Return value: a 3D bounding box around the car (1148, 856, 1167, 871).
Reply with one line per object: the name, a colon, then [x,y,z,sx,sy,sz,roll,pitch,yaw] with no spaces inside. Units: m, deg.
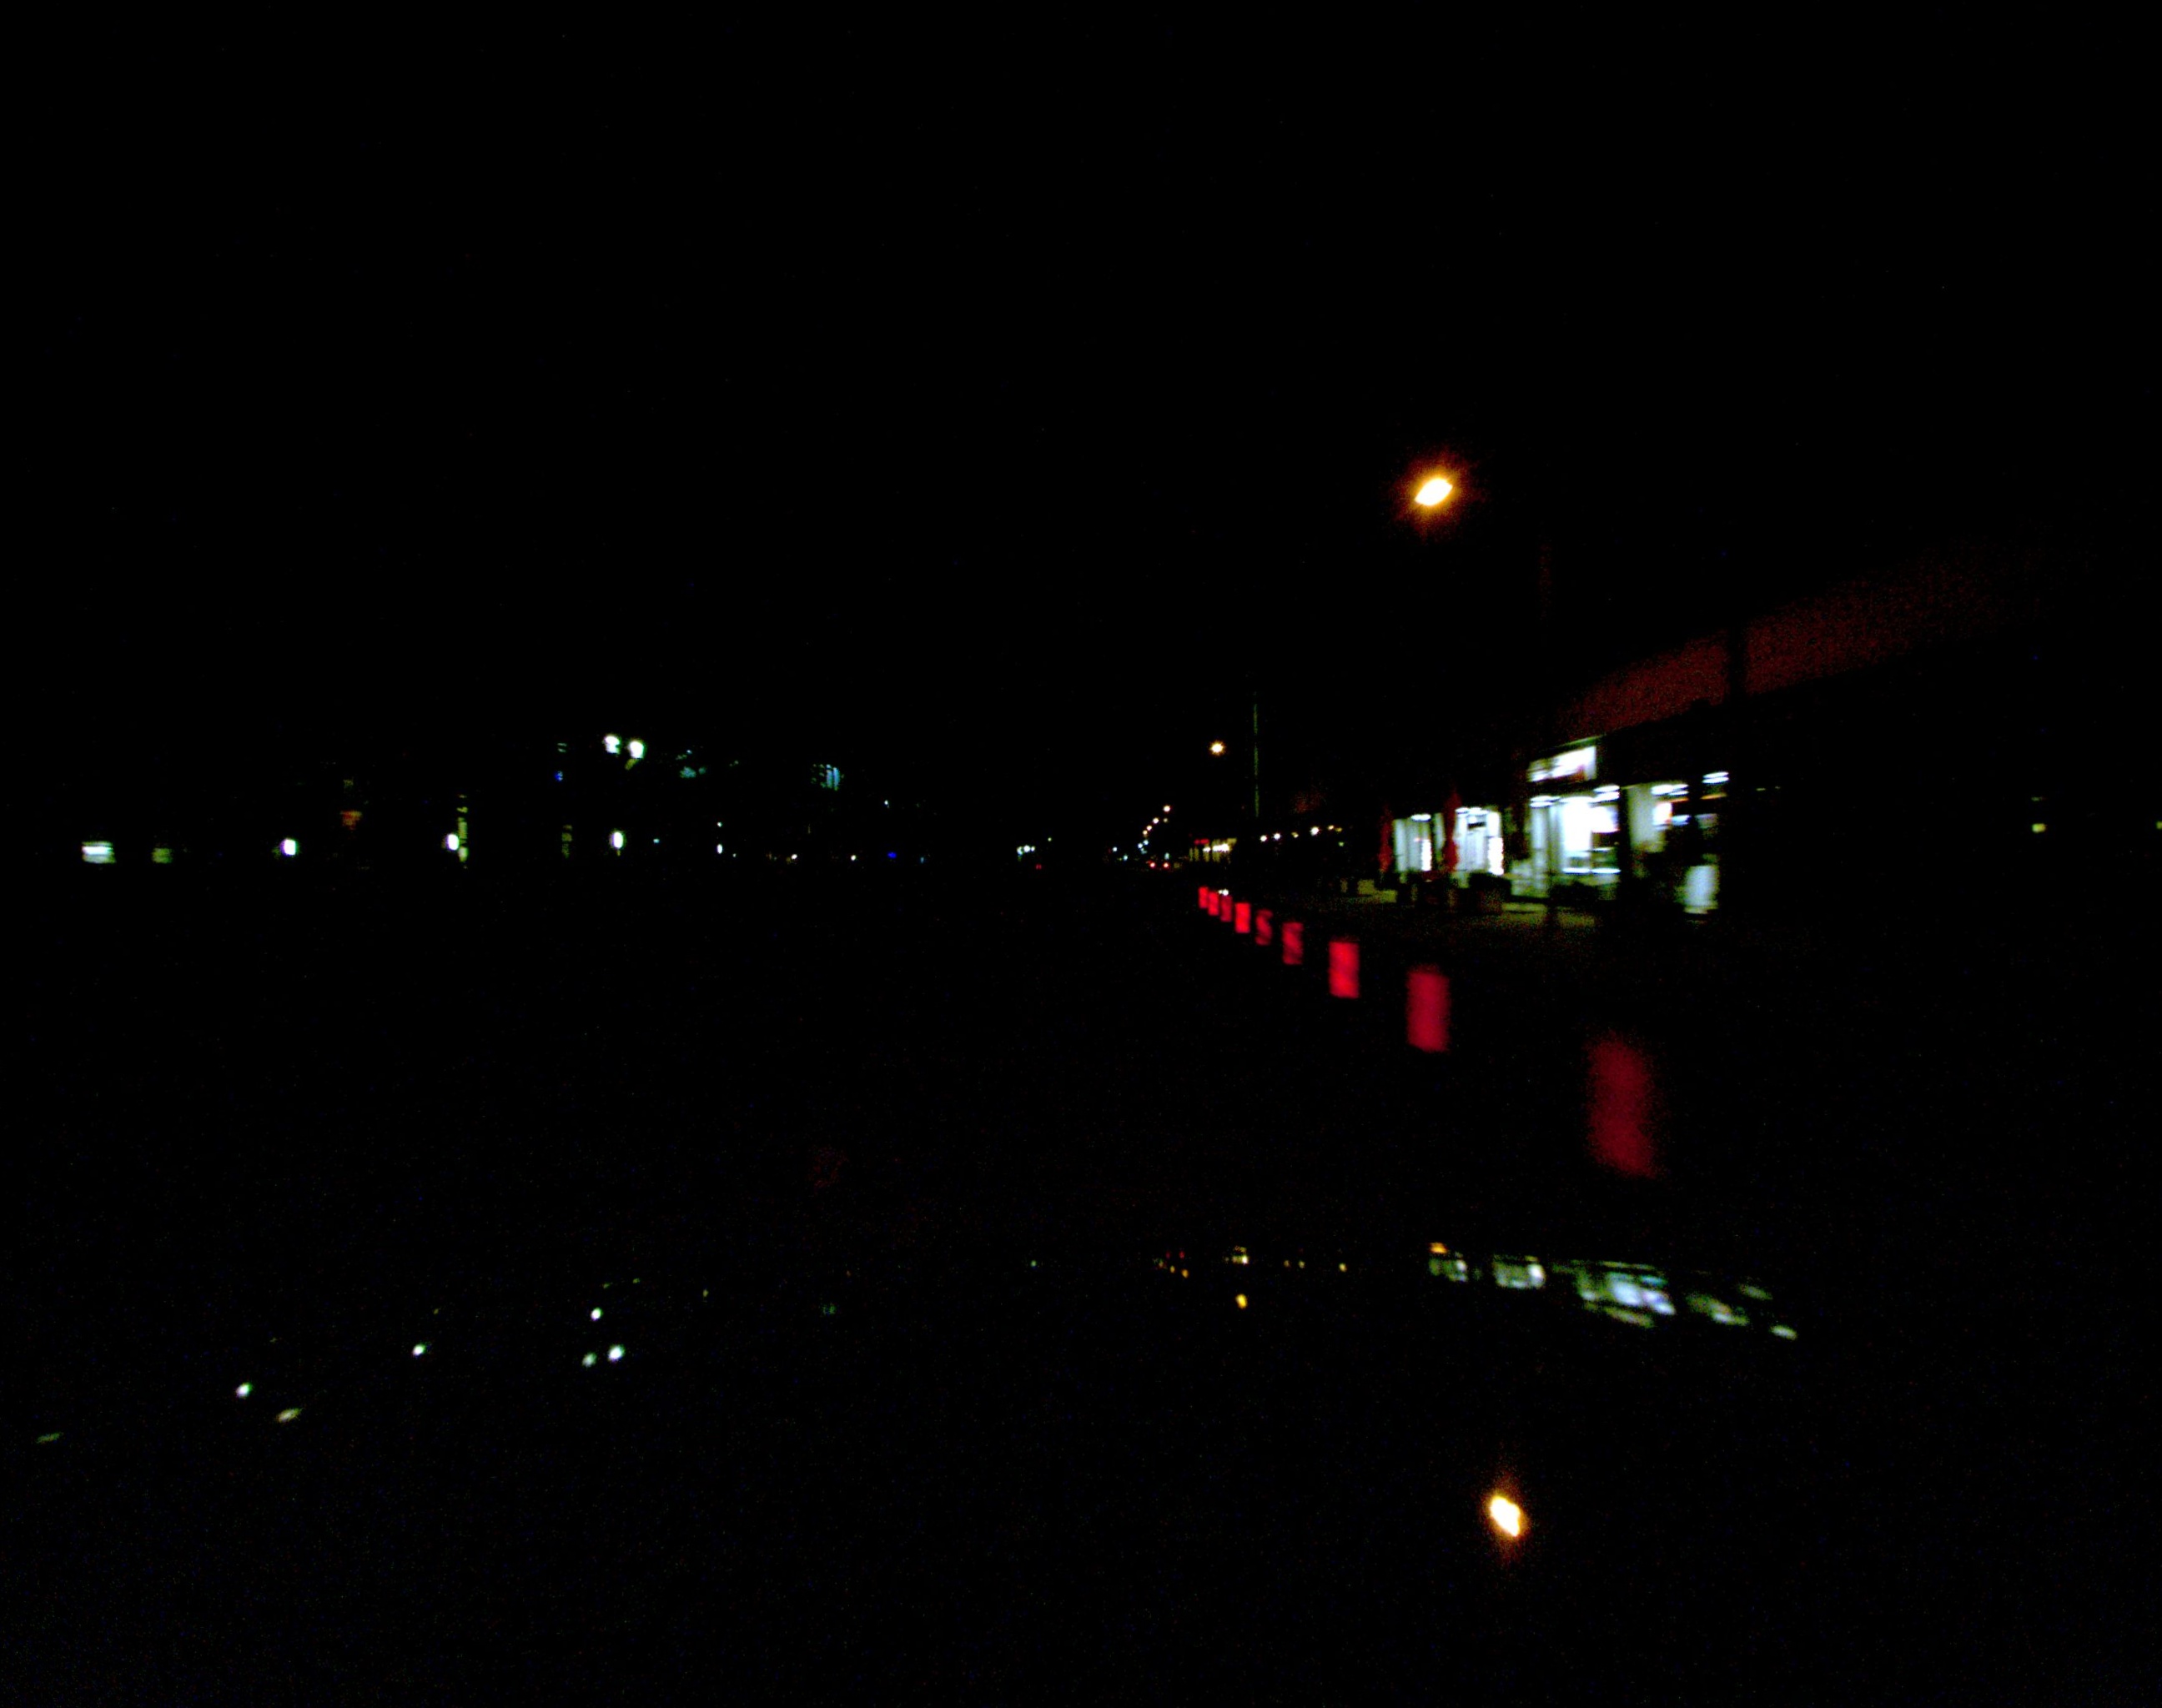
car: [7.650,0.901,75.939,1.671,1.420,4.000,1,0,2]
